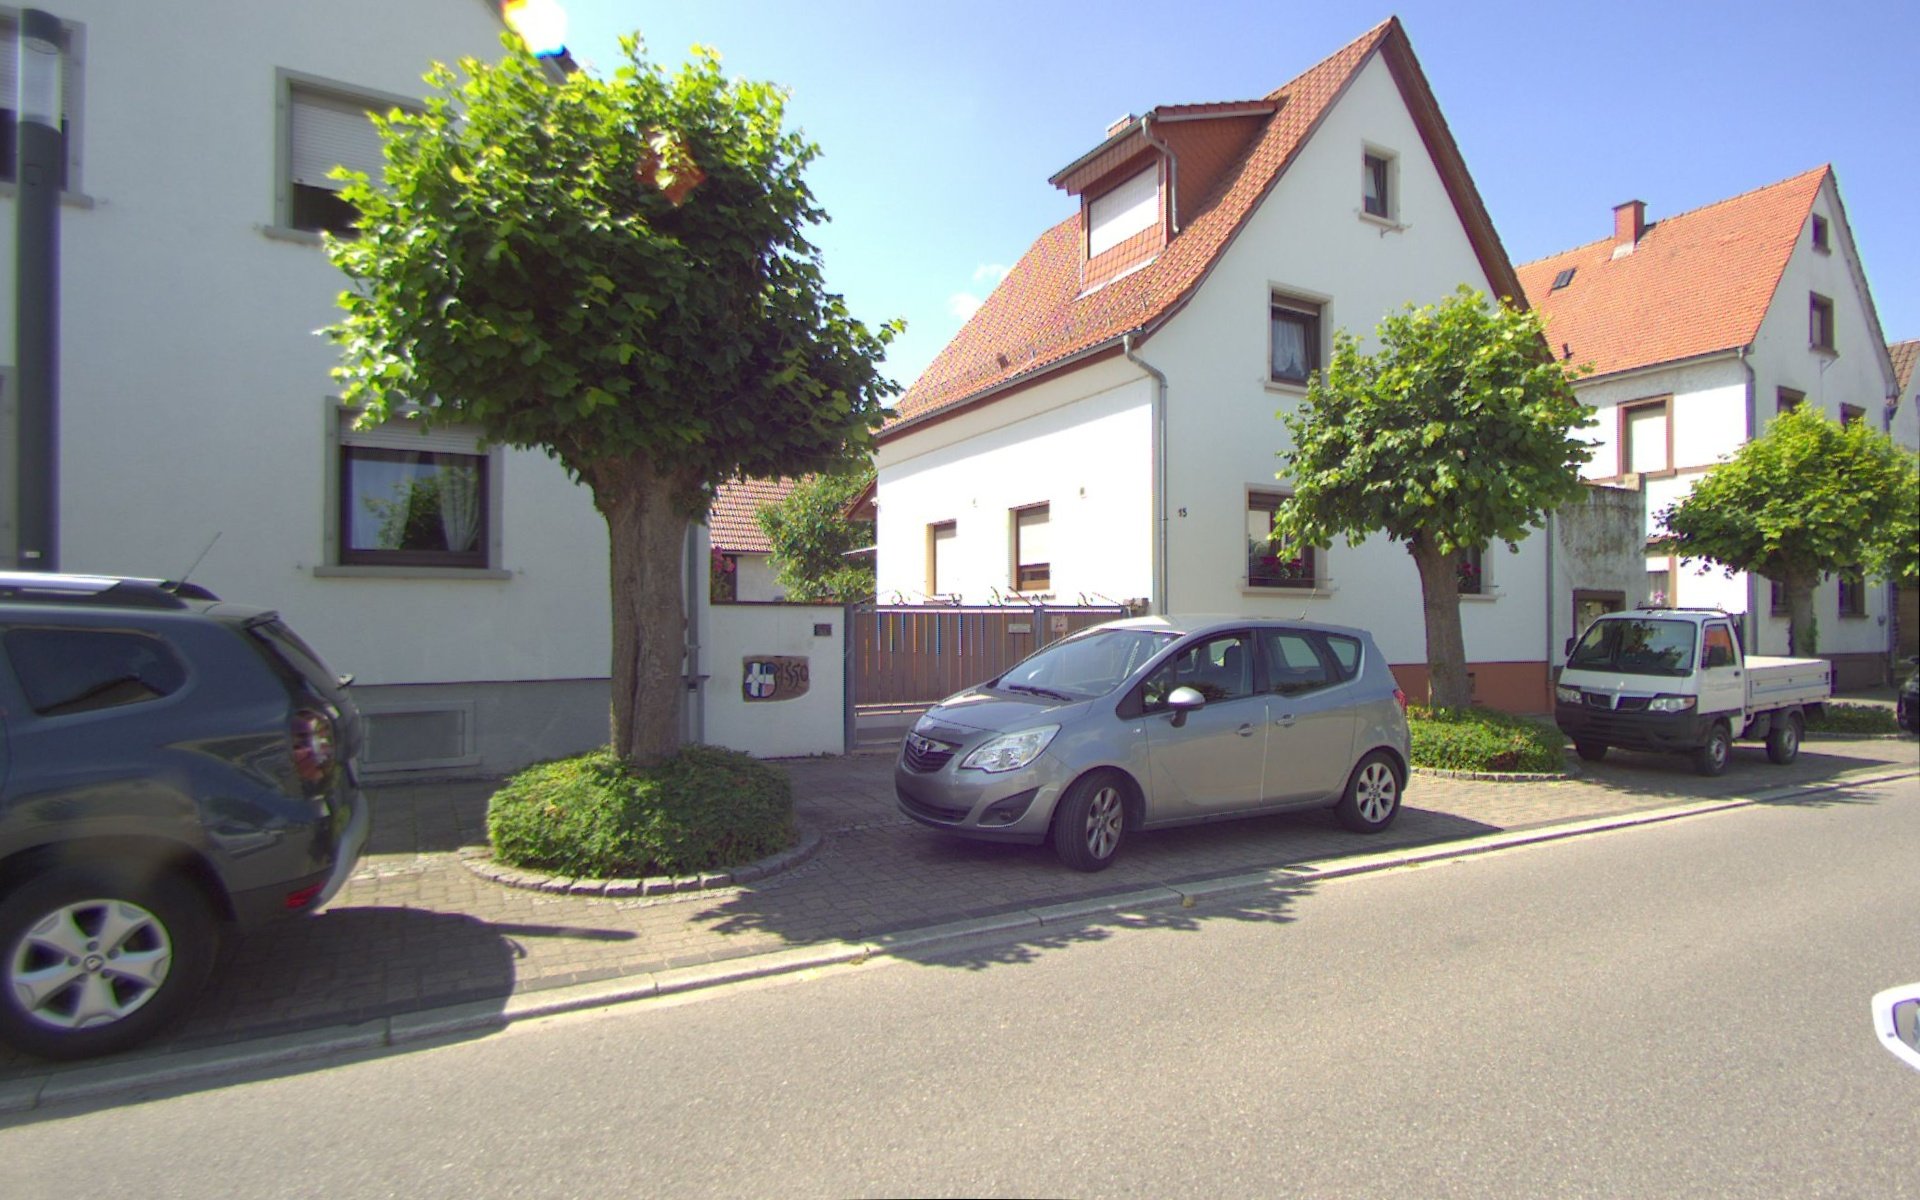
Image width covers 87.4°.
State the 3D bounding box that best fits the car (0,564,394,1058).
[{"bbox_3d":[-4.506,0.683,3.663,4.248,1.658,1.844,0,1,-30],"label":"car"}]

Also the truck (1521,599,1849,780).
[{"bbox_3d":[8.587,0.947,11.818,4.143,1.789,1.568,1,0,-30],"label":"truck"}]

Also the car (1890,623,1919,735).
[{"bbox_3d":[16.221,1.221,15.653,3.961,1.655,1.773,2,-1,-36],"label":"car"}]

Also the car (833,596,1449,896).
[{"bbox_3d":[1.430,0.864,7.453,4.319,1.634,1.844,2,0,-30],"label":"car"}]
